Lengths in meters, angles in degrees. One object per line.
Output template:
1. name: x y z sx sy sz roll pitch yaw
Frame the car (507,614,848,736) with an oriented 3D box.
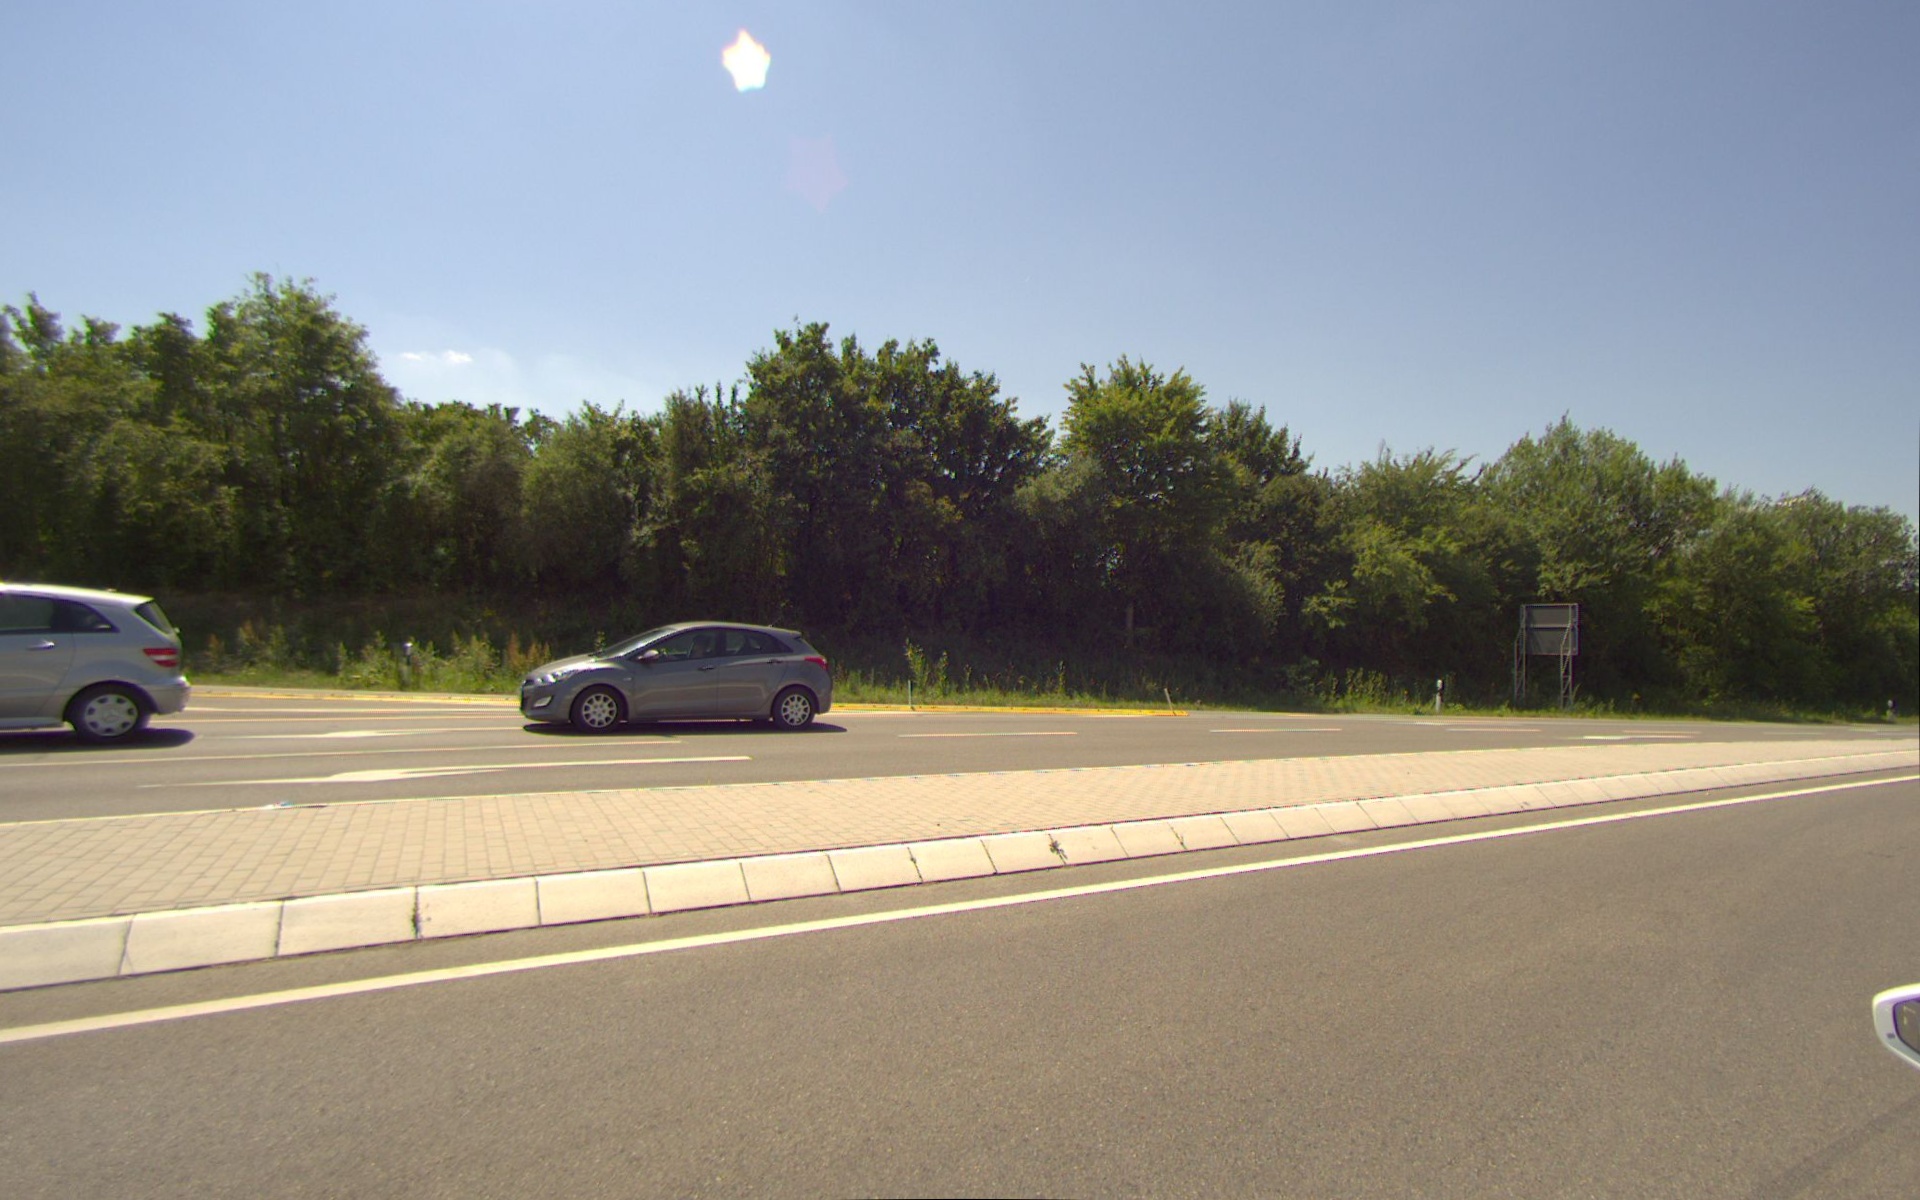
1. car: -3.867 1.005 13.973 4.278 1.475 1.684 3 -2 -30

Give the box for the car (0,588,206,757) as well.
1. car: -10.272 0.678 10.054 4.292 1.616 1.757 3 -1 -38
